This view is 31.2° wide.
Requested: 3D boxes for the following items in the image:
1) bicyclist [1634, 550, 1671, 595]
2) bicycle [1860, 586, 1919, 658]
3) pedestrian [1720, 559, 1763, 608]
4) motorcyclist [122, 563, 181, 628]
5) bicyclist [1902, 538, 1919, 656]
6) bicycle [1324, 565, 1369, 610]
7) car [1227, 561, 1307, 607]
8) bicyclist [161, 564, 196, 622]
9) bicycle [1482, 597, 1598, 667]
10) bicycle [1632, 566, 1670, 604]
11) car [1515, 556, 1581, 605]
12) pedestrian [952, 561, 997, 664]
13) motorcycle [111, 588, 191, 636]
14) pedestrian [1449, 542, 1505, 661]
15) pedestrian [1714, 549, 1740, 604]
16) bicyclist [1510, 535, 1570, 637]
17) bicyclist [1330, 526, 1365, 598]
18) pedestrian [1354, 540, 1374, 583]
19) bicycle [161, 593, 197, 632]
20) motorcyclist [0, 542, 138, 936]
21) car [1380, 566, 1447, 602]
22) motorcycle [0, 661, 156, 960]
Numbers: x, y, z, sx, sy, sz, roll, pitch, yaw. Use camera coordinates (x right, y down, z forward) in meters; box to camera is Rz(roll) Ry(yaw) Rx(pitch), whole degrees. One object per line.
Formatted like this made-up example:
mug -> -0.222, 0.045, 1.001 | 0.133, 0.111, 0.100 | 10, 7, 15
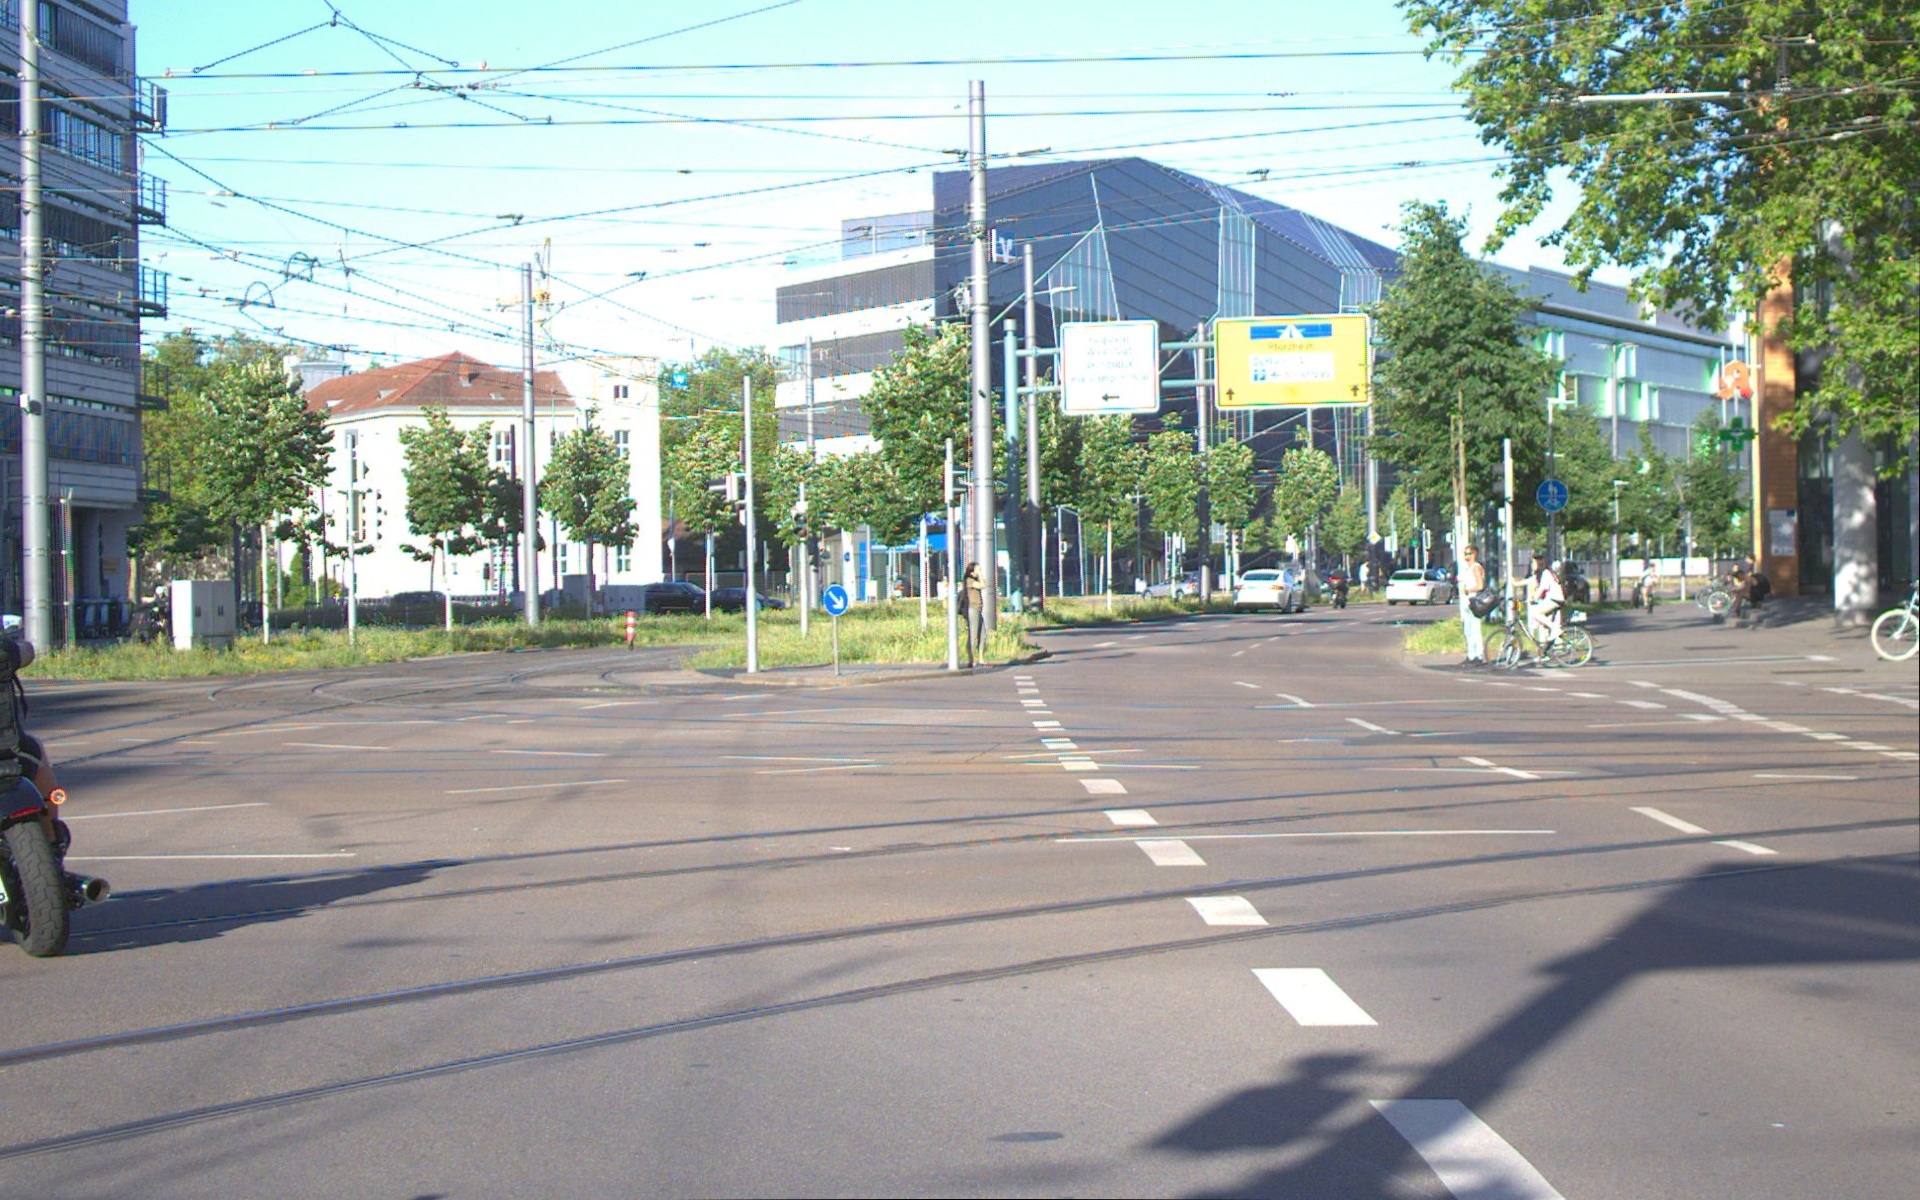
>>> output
bicyclist -> 21.342, -0.856, 105.939 | 1.040, 1.376, 1.563 | -1, 1, 10
bicycle -> 13.994, 0.302, 49.669 | 1.853, 1.018, 0.516 | -1, 0, 10
pedestrian -> 17.083, -0.359, 75.166 | 0.785, 1.053, 0.813 | -1, 1, 22
motorcyclist -> -21.589, -0.125, 91.857 | 1.019, 1.725, 1.460 | -1, 0, 10
bicyclist -> 14.035, -0.054, 49.662 | 0.743, 1.689, 0.570 | -1, 0, 10
bicycle -> 14.236, -0.467, 126.517 | 1.017, 1.574, 3.571 | -1, 1, 17
car -> 10.093, -0.523, 112.764 | 1.903, 1.503, 3.997 | 0, 0, 15
bicyclist -> -22.884, -0.206, 100.741 | 0.764, 1.661, 0.994 | -1, 1, 1
bicycle -> 8.698, 0.477, 51.536 | 1.629, 1.018, 0.516 | -1, 0, 19
bicycle -> 21.292, -0.476, 105.922 | 1.040, 1.129, 3.179 | -1, 1, 10
car -> 22.966, -0.747, 134.131 | 2.055, 1.867, 4.223 | 0, 0, 17
pedestrian -> 0.221, 0.187, 53.158 | 0.657, 1.577, 0.489 | -1, 1, 3
motorcycle -> -21.590, 0.318, 91.814 | 0.984, 1.227, 2.942 | -1, 0, 10
pedestrian -> 8.057, 0.019, 53.576 | 0.701, 1.830, 0.514 | 0, 0, 35
pedestrian -> 21.917, -0.667, 98.243 | 0.706, 1.564, 0.622 | -1, 1, 13
bicyclist -> 8.700, -0.207, 51.533 | 0.743, 1.498, 0.569 | -1, 0, 24
bicyclist -> 14.270, -1.404, 126.559 | 1.017, 2.615, 1.470 | -1, 1, 17
pedestrian -> 17.248, -1.628, 146.747 | 0.642, 1.812, 0.629 | -1, 1, 31
bicycle -> -22.881, 0.349, 100.725 | 0.642, 1.104, 1.685 | -1, 1, 1
motorcyclist -> -4.019, 0.536, 14.075 | 1.022, 1.547, 1.287 | 0, 1, -25
car -> 18.080, -0.657, 136.893 | 2.017, 1.371, 4.035 | -1, 1, 17
motorcycle -> -4.046, 0.828, 14.067 | 1.005, 1.122, 2.323 | 0, -2, -25
